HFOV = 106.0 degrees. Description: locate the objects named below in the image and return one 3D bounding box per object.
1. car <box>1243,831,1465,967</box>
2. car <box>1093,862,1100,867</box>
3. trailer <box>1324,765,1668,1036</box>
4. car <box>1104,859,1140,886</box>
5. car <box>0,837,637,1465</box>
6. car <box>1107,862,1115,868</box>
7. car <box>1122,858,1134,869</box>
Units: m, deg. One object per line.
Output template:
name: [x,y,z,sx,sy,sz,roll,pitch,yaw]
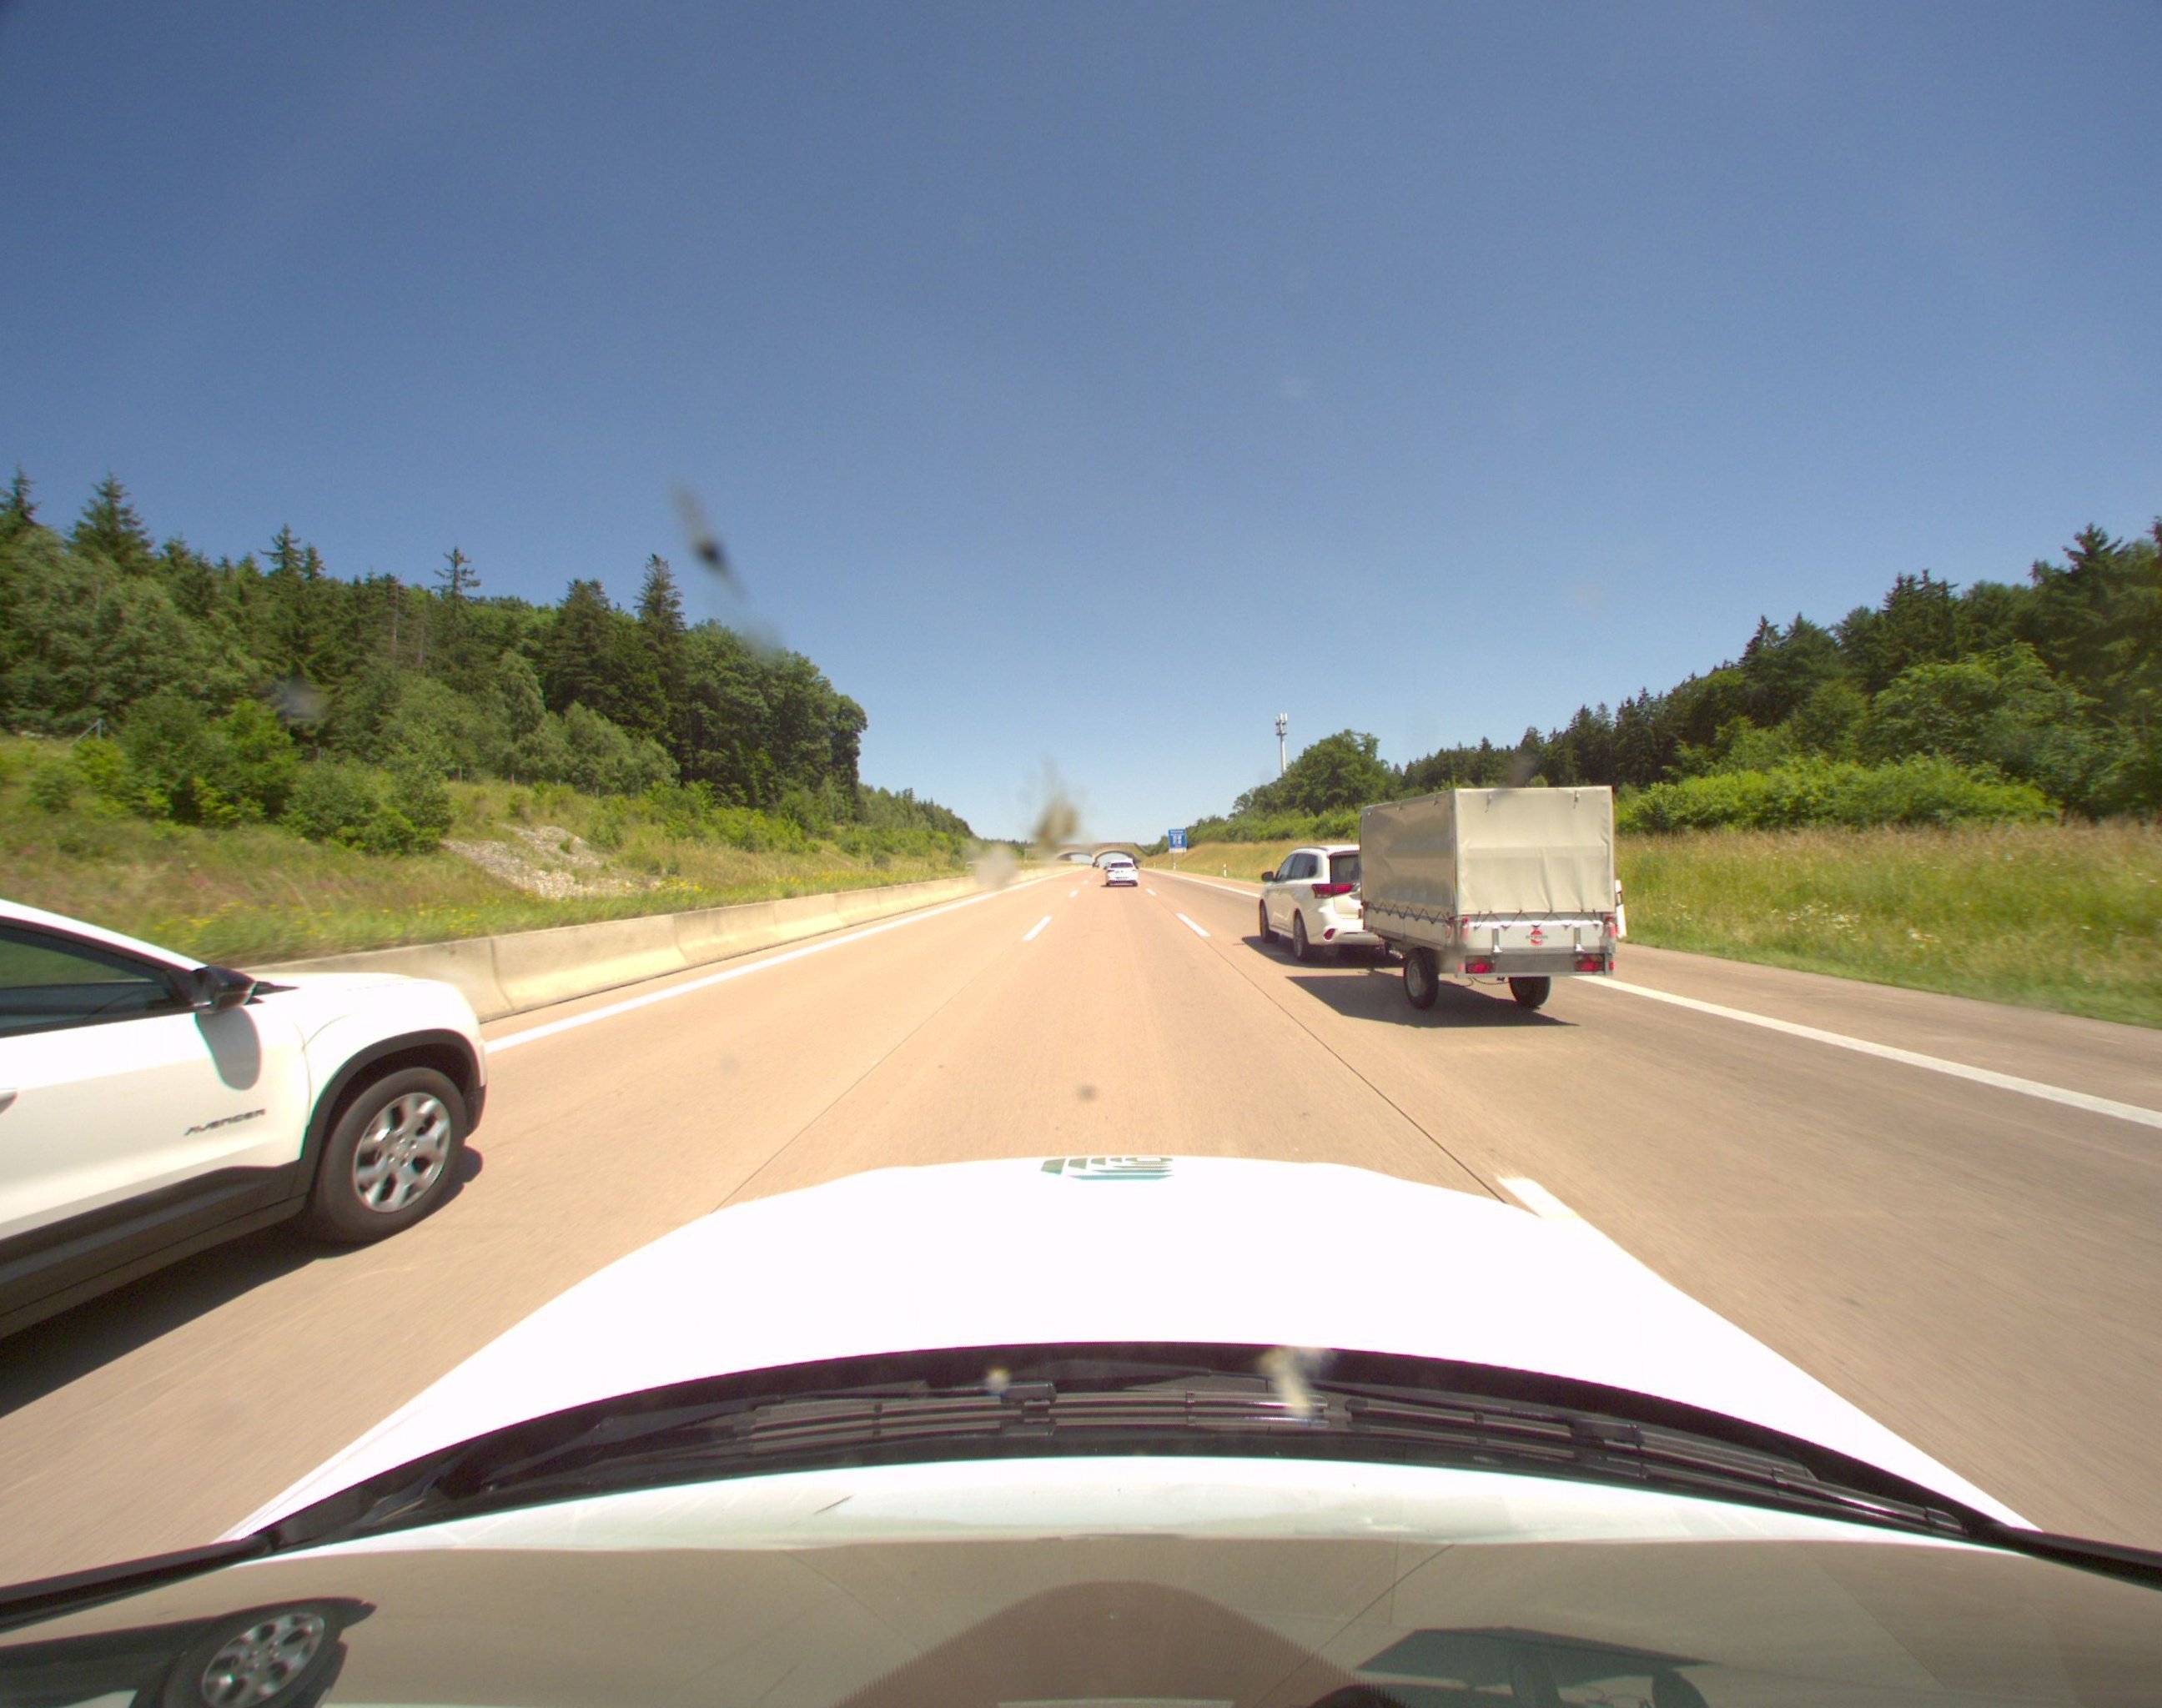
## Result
car: [4.071,0.597,13.191,1.884,1.728,5.186,-1,0,1]
car: [4.335,2.929,230.493,1.882,1.463,4.004,-1,0,4]
trailer: [3.955,0.388,8.603,1.651,2.164,4.017,-1,0,2]
car: [2.309,1.020,45.217,1.882,1.398,4.004,0,0,4]
car: [-3.701,0.780,2.512,1.872,1.607,4.835,-1,-1,2]
car: [7.684,2.773,207.022,1.883,1.463,4.002,0,0,2]
car: [8.789,1.793,151.731,2.101,2.054,4.004,-1,0,4]
